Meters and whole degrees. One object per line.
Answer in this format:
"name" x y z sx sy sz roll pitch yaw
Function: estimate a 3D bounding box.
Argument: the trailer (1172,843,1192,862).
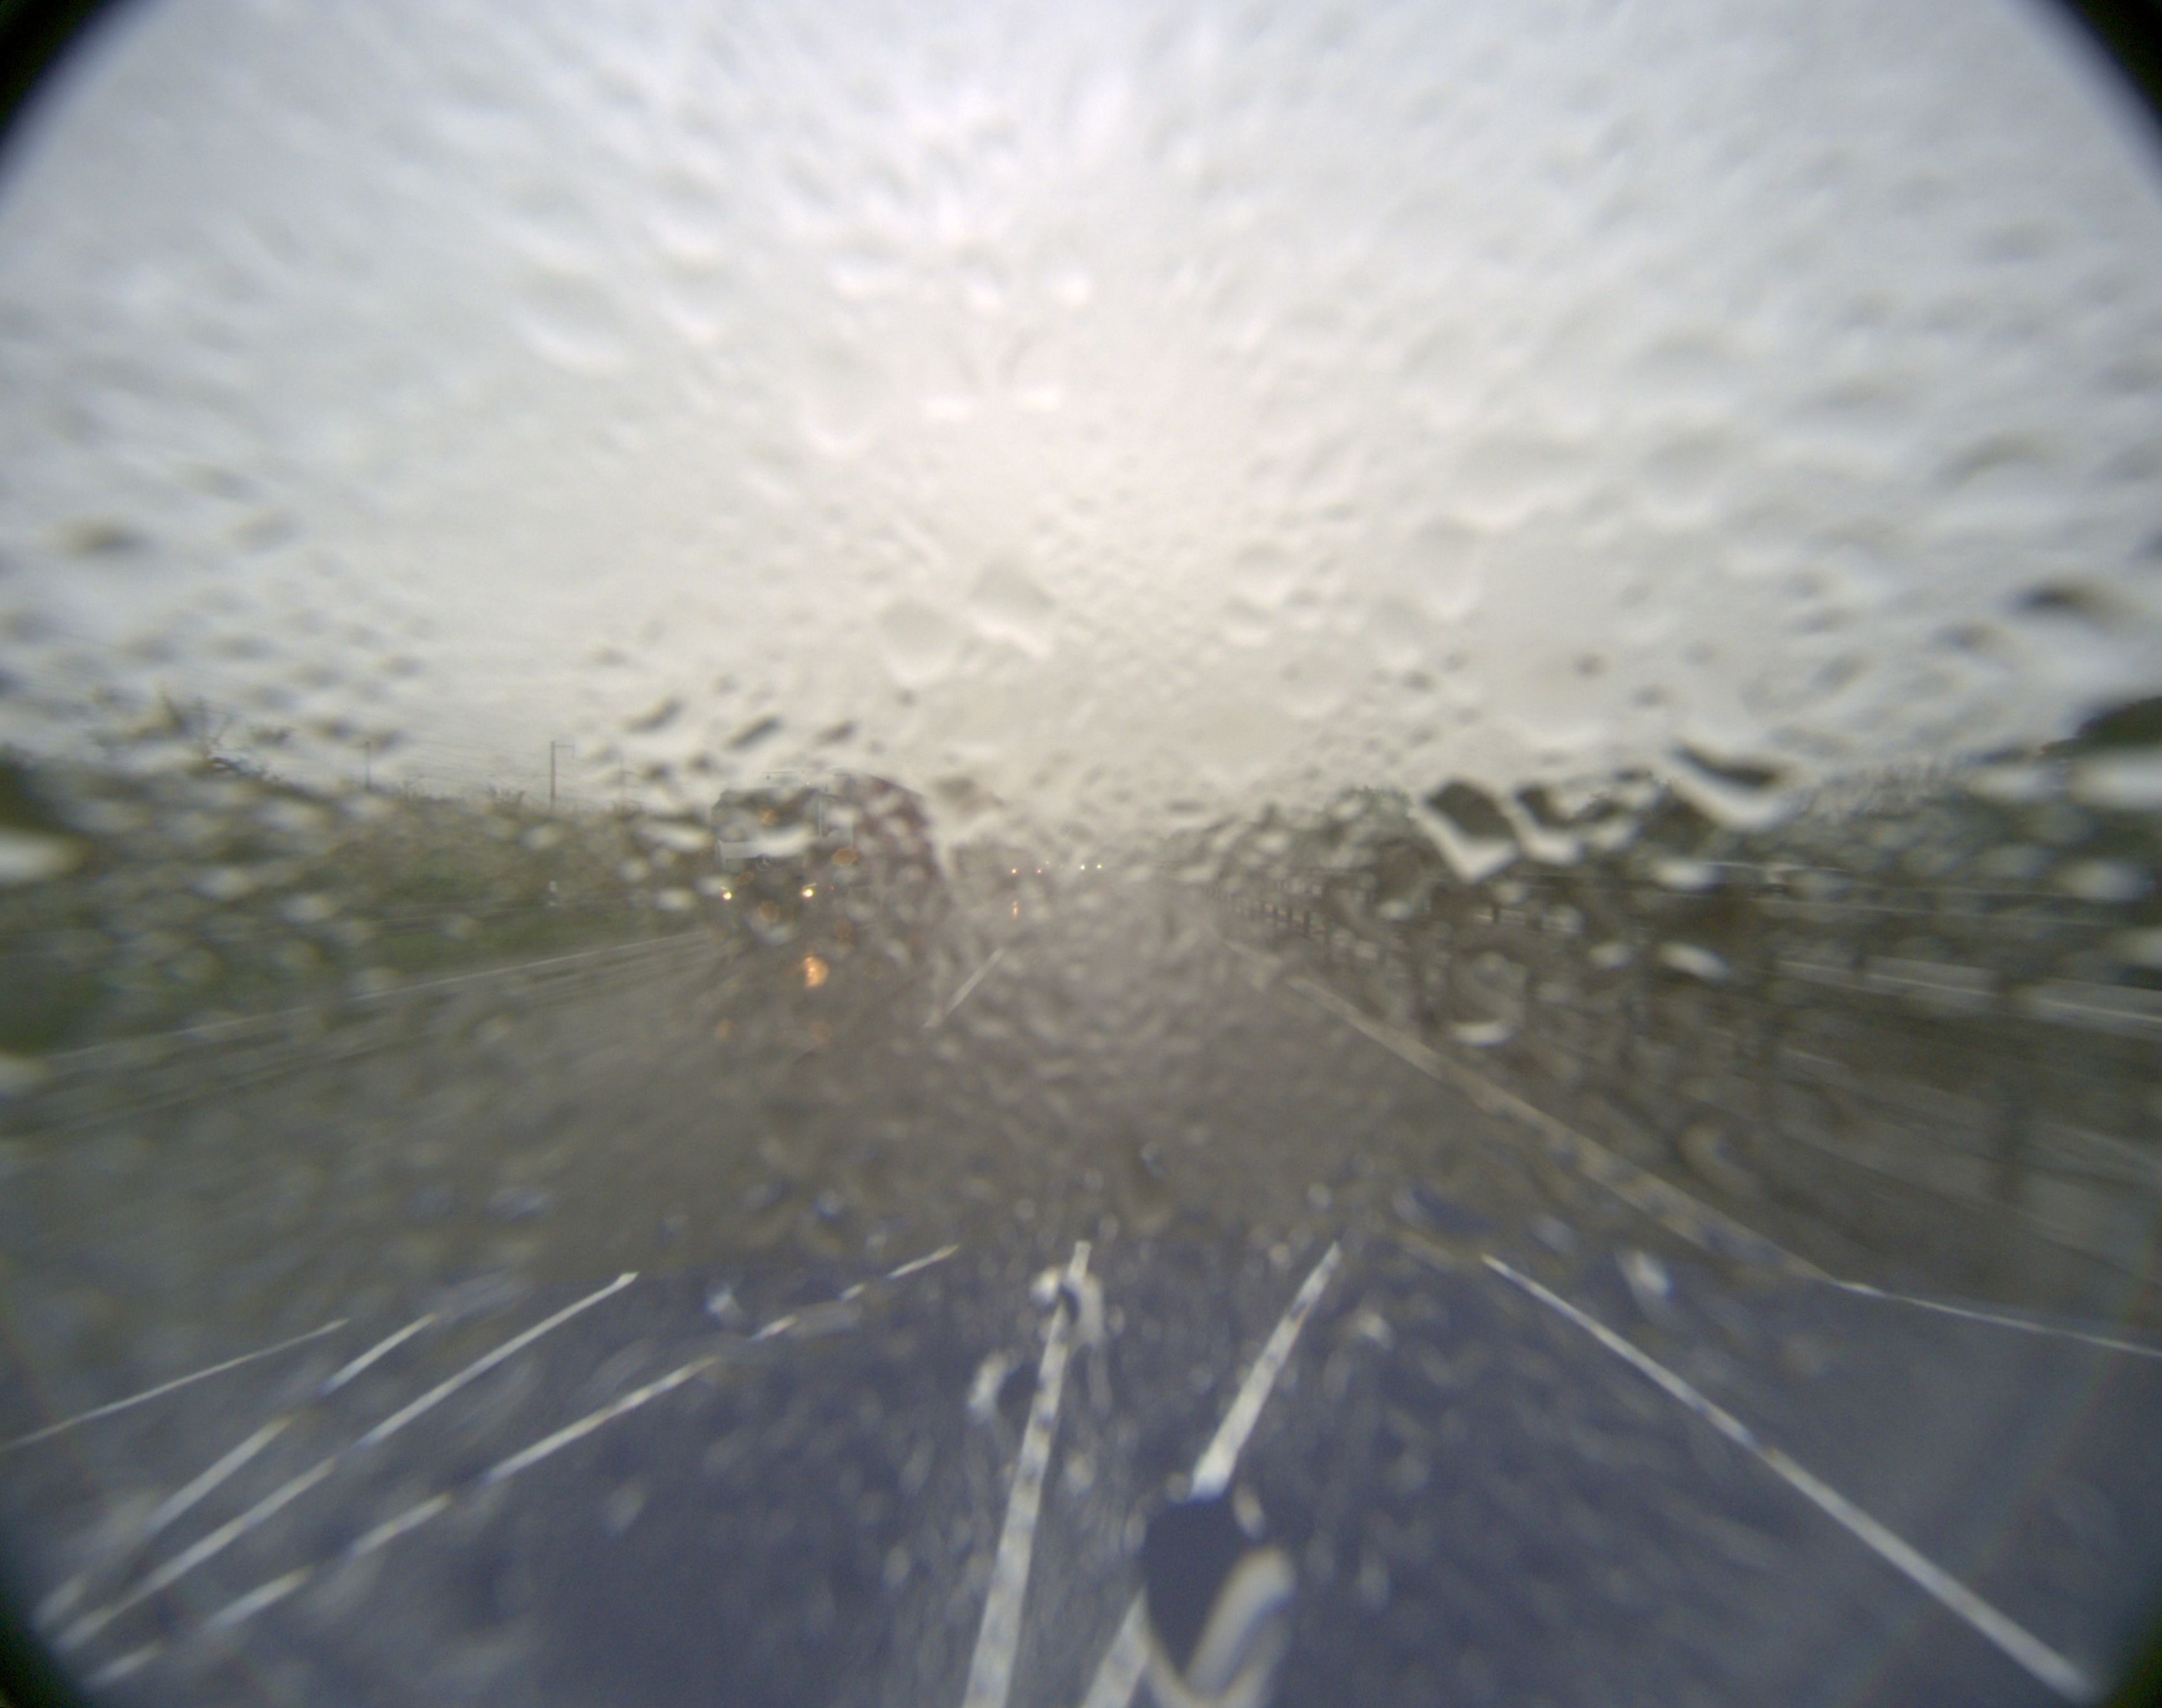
"trailer" 21.596 -0.292 163.330 2.640 3.782 13.584 -2 0 1

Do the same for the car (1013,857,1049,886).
"car" -2.777 0.938 42.617 1.663 1.491 3.836 -2 0 1

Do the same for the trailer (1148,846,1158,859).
"trailer" 23.110 -0.479 244.796 2.301 3.782 13.612 -2 0 1

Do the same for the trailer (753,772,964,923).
"trailer" -6.913 -0.164 27.515 2.486 3.743 16.544 -2 0 0

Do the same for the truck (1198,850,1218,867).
"truck" 21.381 0.728 128.422 2.333 2.604 6.263 -2 0 0

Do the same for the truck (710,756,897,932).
"truck" -6.960 -0.223 20.097 2.457 3.866 6.199 -2 0 1

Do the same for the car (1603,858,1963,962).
"car" 11.743 0.831 13.314 1.998 1.425 4.648 -2 0 0

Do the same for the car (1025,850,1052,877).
"car" -2.693 0.605 48.395 1.517 1.606 3.186 -2 0 0

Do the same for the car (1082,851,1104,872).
"car" 1.076 0.649 67.442 1.845 1.671 4.000 -2 0 0

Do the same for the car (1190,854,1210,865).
"car" 16.560 0.731 105.847 1.998 1.522 4.654 -2 0 0

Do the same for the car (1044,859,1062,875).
"car" -3.231 1.504 87.672 1.845 1.671 4.000 -2 0 0
